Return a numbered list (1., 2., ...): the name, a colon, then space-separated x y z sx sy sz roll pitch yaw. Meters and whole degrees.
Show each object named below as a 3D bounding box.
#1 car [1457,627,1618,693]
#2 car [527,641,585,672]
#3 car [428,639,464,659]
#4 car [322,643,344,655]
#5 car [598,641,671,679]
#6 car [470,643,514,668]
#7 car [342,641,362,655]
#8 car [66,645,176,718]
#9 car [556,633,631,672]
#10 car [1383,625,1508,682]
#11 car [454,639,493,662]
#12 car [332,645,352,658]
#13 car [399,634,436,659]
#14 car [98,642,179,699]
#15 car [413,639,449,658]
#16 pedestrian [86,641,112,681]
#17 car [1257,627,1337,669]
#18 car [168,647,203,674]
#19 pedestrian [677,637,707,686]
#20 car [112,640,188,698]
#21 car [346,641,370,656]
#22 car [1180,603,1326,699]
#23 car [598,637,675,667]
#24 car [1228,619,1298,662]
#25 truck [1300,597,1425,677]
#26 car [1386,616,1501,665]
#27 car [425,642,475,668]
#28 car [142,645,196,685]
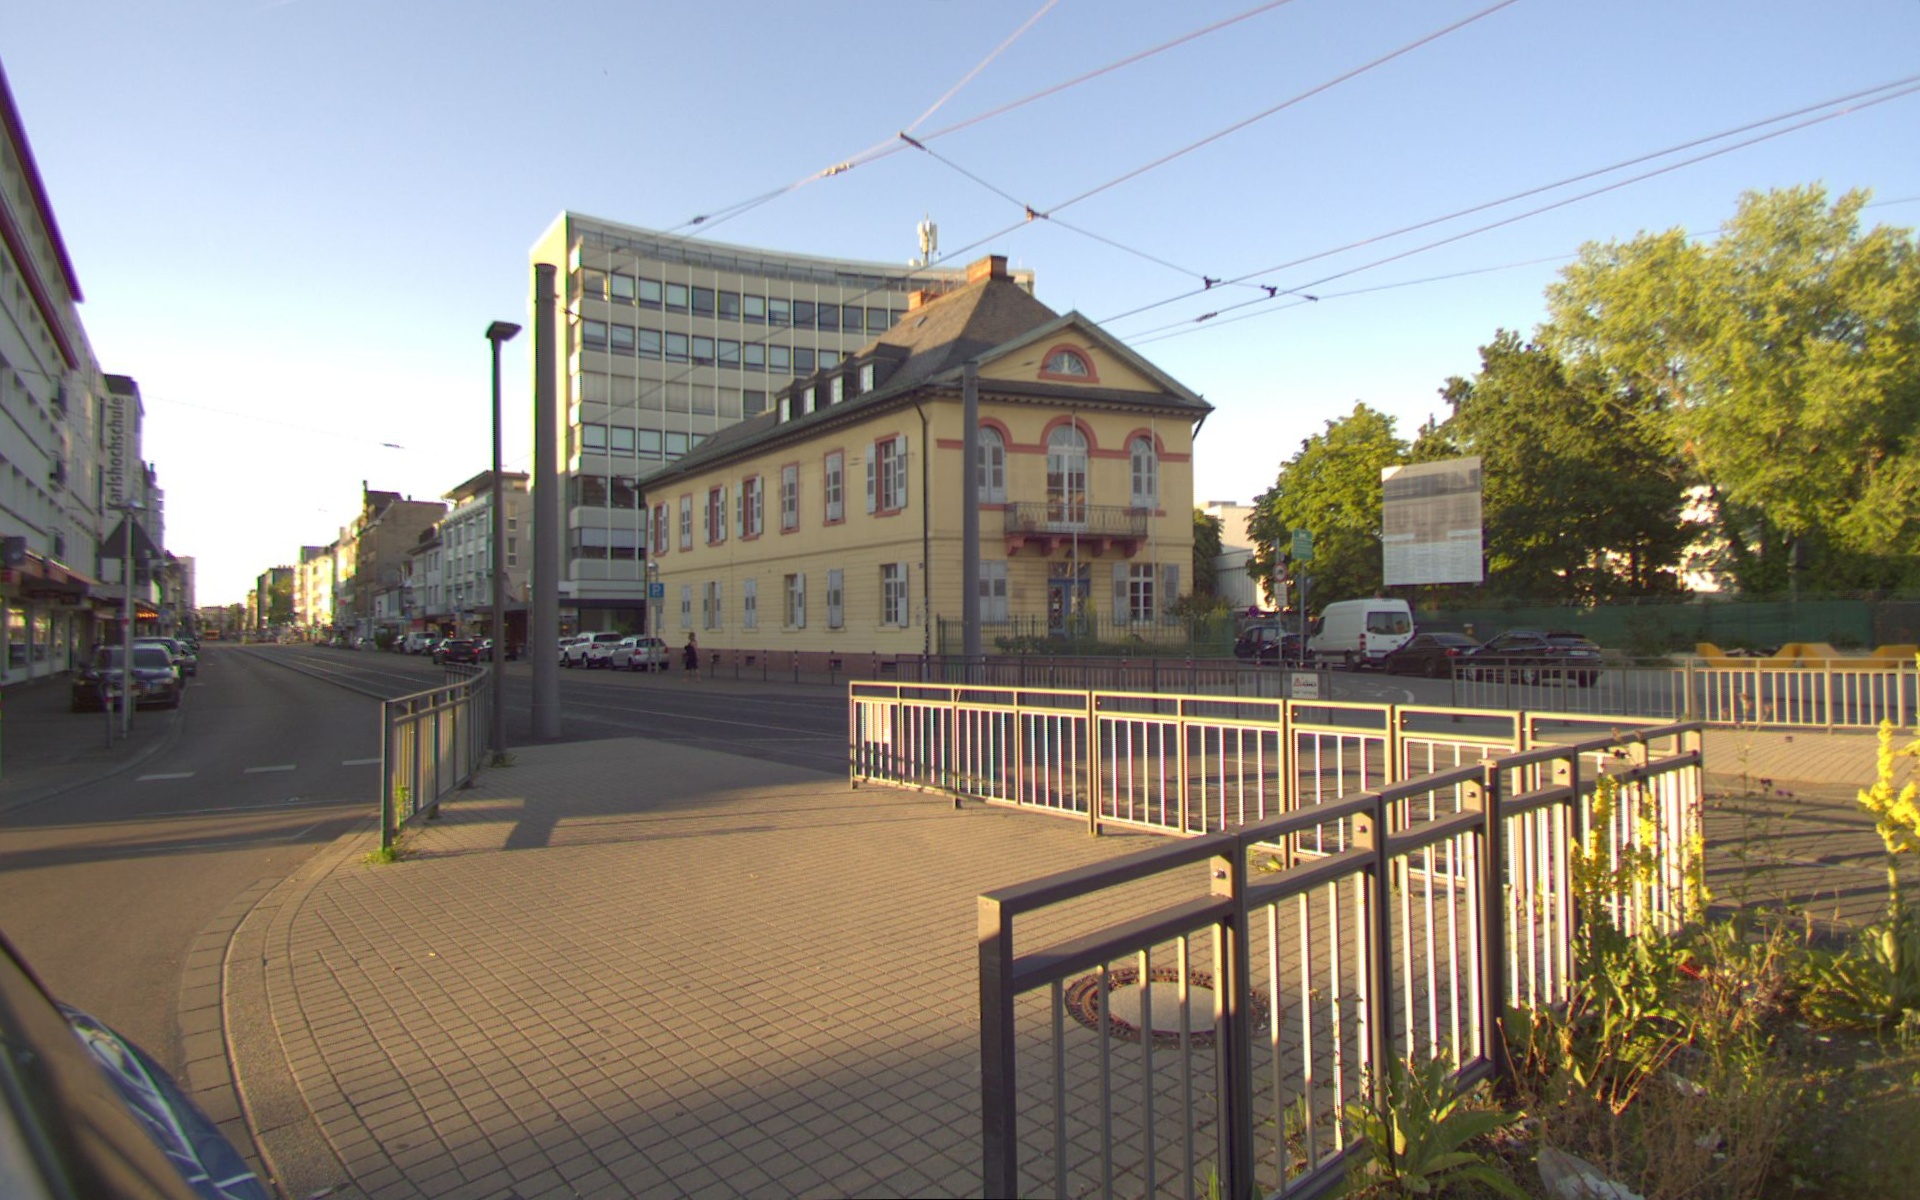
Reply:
1. car: 15.701 1.593 27.788 1.971 1.558 4.001 -2 -1 -1
2. car: -21.143 2.925 52.917 1.698 1.464 4.292 -1 -1 -38
3. car: -38.526 3.670 75.875 1.766 1.472 4.100 1 -3 -36
4. car: -87.380 6.807 141.056 1.968 1.431 4.411 -1 -1 -39
5. car: -14.017 2.570 43.498 1.725 1.485 4.008 -1 -2 -37
6. car: -29.460 3.471 63.643 1.670 1.436 3.973 -2 -1 -37
7. car: -70.748 5.572 117.739 1.634 1.582 3.478 -1 -1 -37
8. car: -19.325 1.800 23.471 1.767 1.423 4.697 -1 -1 -37
9. car: -17.325 2.442 47.703 1.863 1.673 4.769 -1 -1 -39
10. car: 15.502 1.667 32.573 1.971 1.589 4.001 -2 -1 -1
11. car: -32.815 3.406 68.250 1.669 1.445 3.600 0 -2 -37
12. car: -80.243 6.641 131.387 1.817 1.504 3.824 -1 -1 -37
13. car: -46.688 3.949 87.055 1.939 2.029 5.110 -1 -1 -38
14. car: -23.552 1.967 29.111 1.630 1.431 4.200 -1 -1 -37
15. car: -42.381 3.857 81.058 1.847 1.437 4.581 -1 -1 -37
16. pedestrian: -34.689 2.451 40.764 0.723 1.586 0.969 1 -3 -38
17. car: 14.516 2.037 43.842 1.971 1.589 4.001 -2 -1 -1
18. car: -47.568 3.692 62.198 1.633 1.474 4.031 -1 -1 -37
19. pedestrian: -8.703 1.980 32.881 0.710 1.548 0.720 2 -3 -41
20. car: -26.971 2.225 33.798 1.832 1.714 4.427 -1 -1 -38
21. car: -68.067 5.414 114.400 1.867 1.568 4.633 -1 -1 -37
22. car: 6.960 1.164 23.784 1.997 2.029 3.950 -2 -3 37
23. car: -19.292 3.069 60.383 3.937 1.565 1.917 -1 -1 -39
24. car: 14.441 1.900 48.455 1.971 1.900 4.001 -2 -1 -1
25. truck: 14.999 1.338 38.155 2.164 2.719 5.470 -2 -1 -3
26. car: 20.967 1.762 43.988 1.969 2.029 4.006 1 -3 -41
27. car: -28.537 3.041 56.617 1.744 1.387 4.231 1 -2 -37
28. car: -34.922 2.828 44.679 1.769 1.544 4.866 -1 -1 -38
